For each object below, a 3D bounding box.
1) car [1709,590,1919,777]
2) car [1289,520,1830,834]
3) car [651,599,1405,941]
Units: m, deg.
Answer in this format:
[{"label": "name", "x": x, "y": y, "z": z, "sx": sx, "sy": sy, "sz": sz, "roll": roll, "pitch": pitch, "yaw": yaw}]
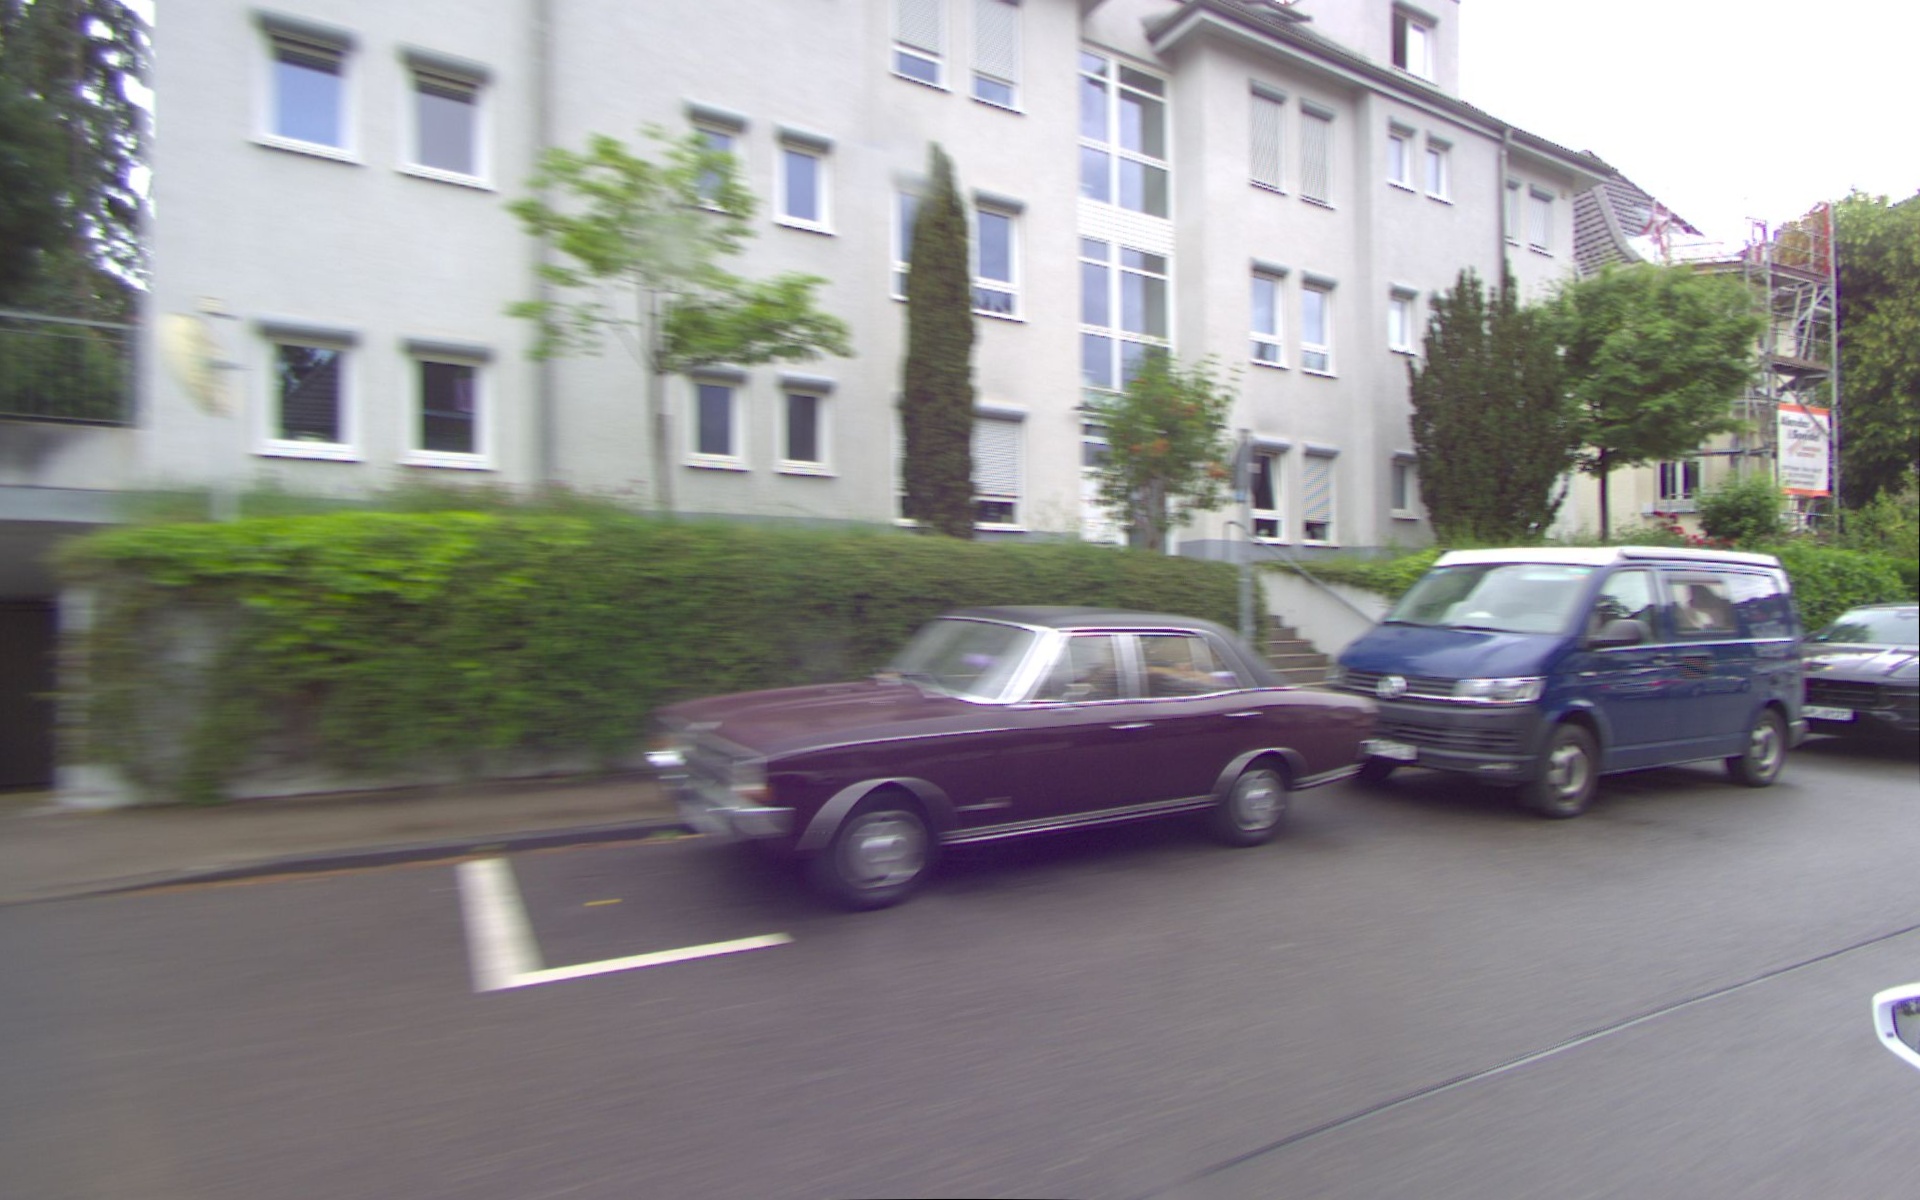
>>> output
[{"label": "car", "x": 11.014, "y": 0.796, "z": 11.555, "sx": 4.614, "sy": 1.711, "sz": 1.987, "roll": -2, "pitch": 1, "yaw": -26}, {"label": "car", "x": 5.308, "y": 0.546, "z": 8.693, "sx": 4.950, "sy": 2.083, "sz": 1.821, "roll": 1, "pitch": 0, "yaw": -30}, {"label": "car", "x": 0.616, "y": 0.731, "z": 6.174, "sx": 4.562, "sy": 1.436, "sz": 1.634, "roll": 0, "pitch": 0, "yaw": -33}]
